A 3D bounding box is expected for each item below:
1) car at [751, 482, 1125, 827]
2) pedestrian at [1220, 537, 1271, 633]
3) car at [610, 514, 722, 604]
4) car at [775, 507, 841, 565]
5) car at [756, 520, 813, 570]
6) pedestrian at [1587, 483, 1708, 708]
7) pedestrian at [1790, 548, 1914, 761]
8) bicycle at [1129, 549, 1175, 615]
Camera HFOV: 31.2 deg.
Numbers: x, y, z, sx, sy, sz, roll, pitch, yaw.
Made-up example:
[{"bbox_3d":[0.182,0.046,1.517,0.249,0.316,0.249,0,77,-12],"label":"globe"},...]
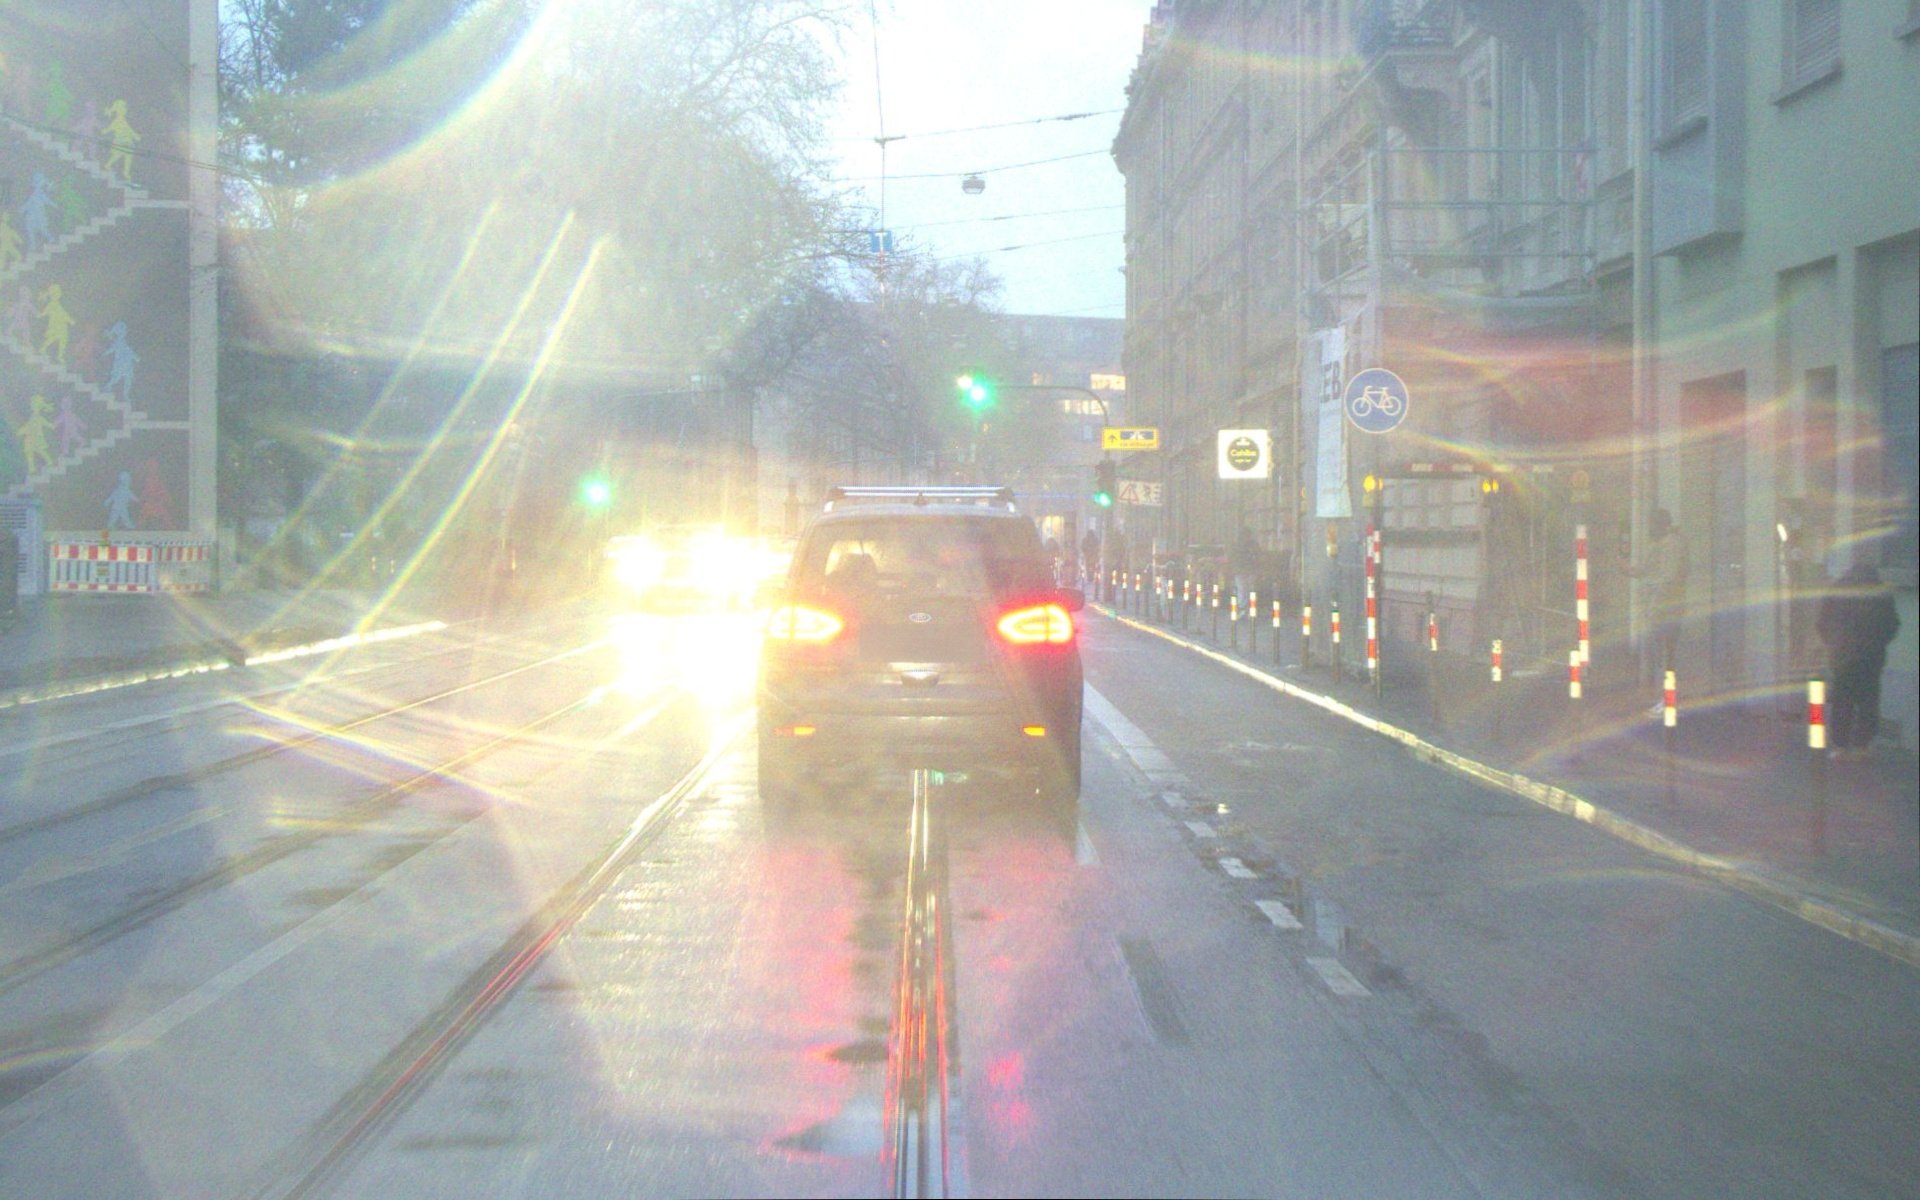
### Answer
[{"bbox_3d":[-0.039,0.255,20.407,1.994,1.835,4.000,0,1,2],"label":"car"},{"bbox_3d":[5.102,-0.274,61.360,0.835,1.695,0.953,1,1,8],"label":"pedestrian"},{"bbox_3d":[-5.765,-0.832,67.788,1.875,1.704,4.761,-1,1,-1],"label":"car"},{"bbox_3d":[-6.265,-2.635,142.033,2.446,2.339,5.845,-1,1,0],"label":"car"},{"bbox_3d":[-5.303,-1.670,104.094,1.530,1.476,3.561,0,1,0],"label":"car"},{"bbox_3d":[5.633,-0.042,28.190,0.598,1.812,0.776,1,1,-28],"label":"pedestrian"},{"bbox_3d":[5.861,0.351,22.612,0.600,1.372,0.728,1,1,-1],"label":"pedestrian"},{"bbox_3d":[3.436,-0.334,61.591,0.684,1.152,2.188,1,1,0],"label":"bicycle"}]
